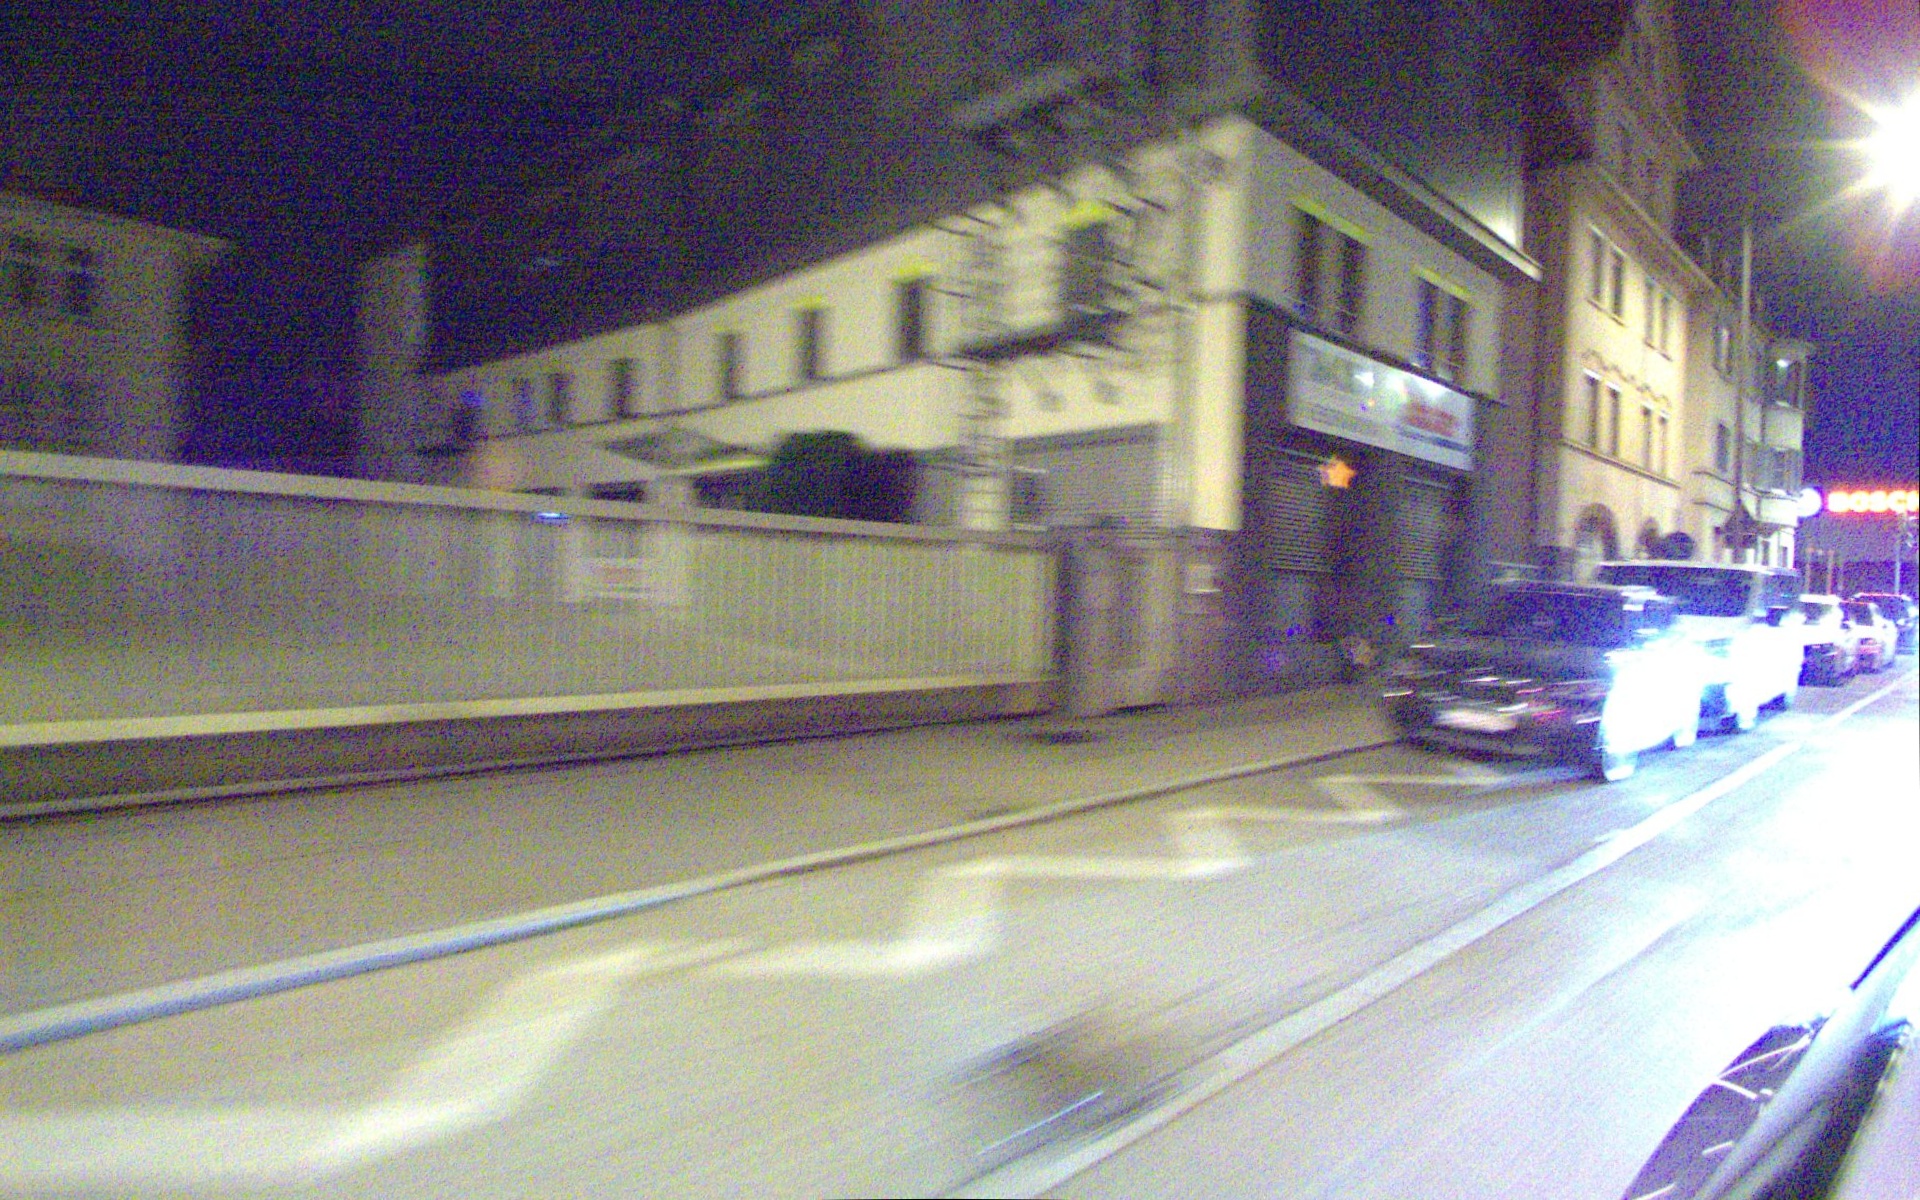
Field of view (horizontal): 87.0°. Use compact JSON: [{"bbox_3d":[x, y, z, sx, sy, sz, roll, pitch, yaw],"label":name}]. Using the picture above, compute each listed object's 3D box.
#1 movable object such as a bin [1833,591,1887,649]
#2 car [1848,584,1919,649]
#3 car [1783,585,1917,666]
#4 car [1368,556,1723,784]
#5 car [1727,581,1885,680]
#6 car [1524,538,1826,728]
[{"bbox_3d":[23.987,0.504,26.972,0.938,1.449,1.317,4,3,44],"label":"movable object such as a bin"},{"bbox_3d":[27.253,0.422,29.390,4.187,1.703,1.746,-1,4,-43],"label":"car"},{"bbox_3d":[19.828,0.477,22.482,4.753,1.527,1.746,-1,4,-43],"label":"car"},{"bbox_3d":[5.696,0.469,9.618,4.152,1.618,1.821,-1,5,-45],"label":"car"},{"bbox_3d":[15.978,0.482,19.039,4.140,1.584,1.746,-1,4,-43],"label":"car"},{"bbox_3d":[9.375,0.265,13.060,5.280,1.952,2.075,-1,4,-43],"label":"car"}]
